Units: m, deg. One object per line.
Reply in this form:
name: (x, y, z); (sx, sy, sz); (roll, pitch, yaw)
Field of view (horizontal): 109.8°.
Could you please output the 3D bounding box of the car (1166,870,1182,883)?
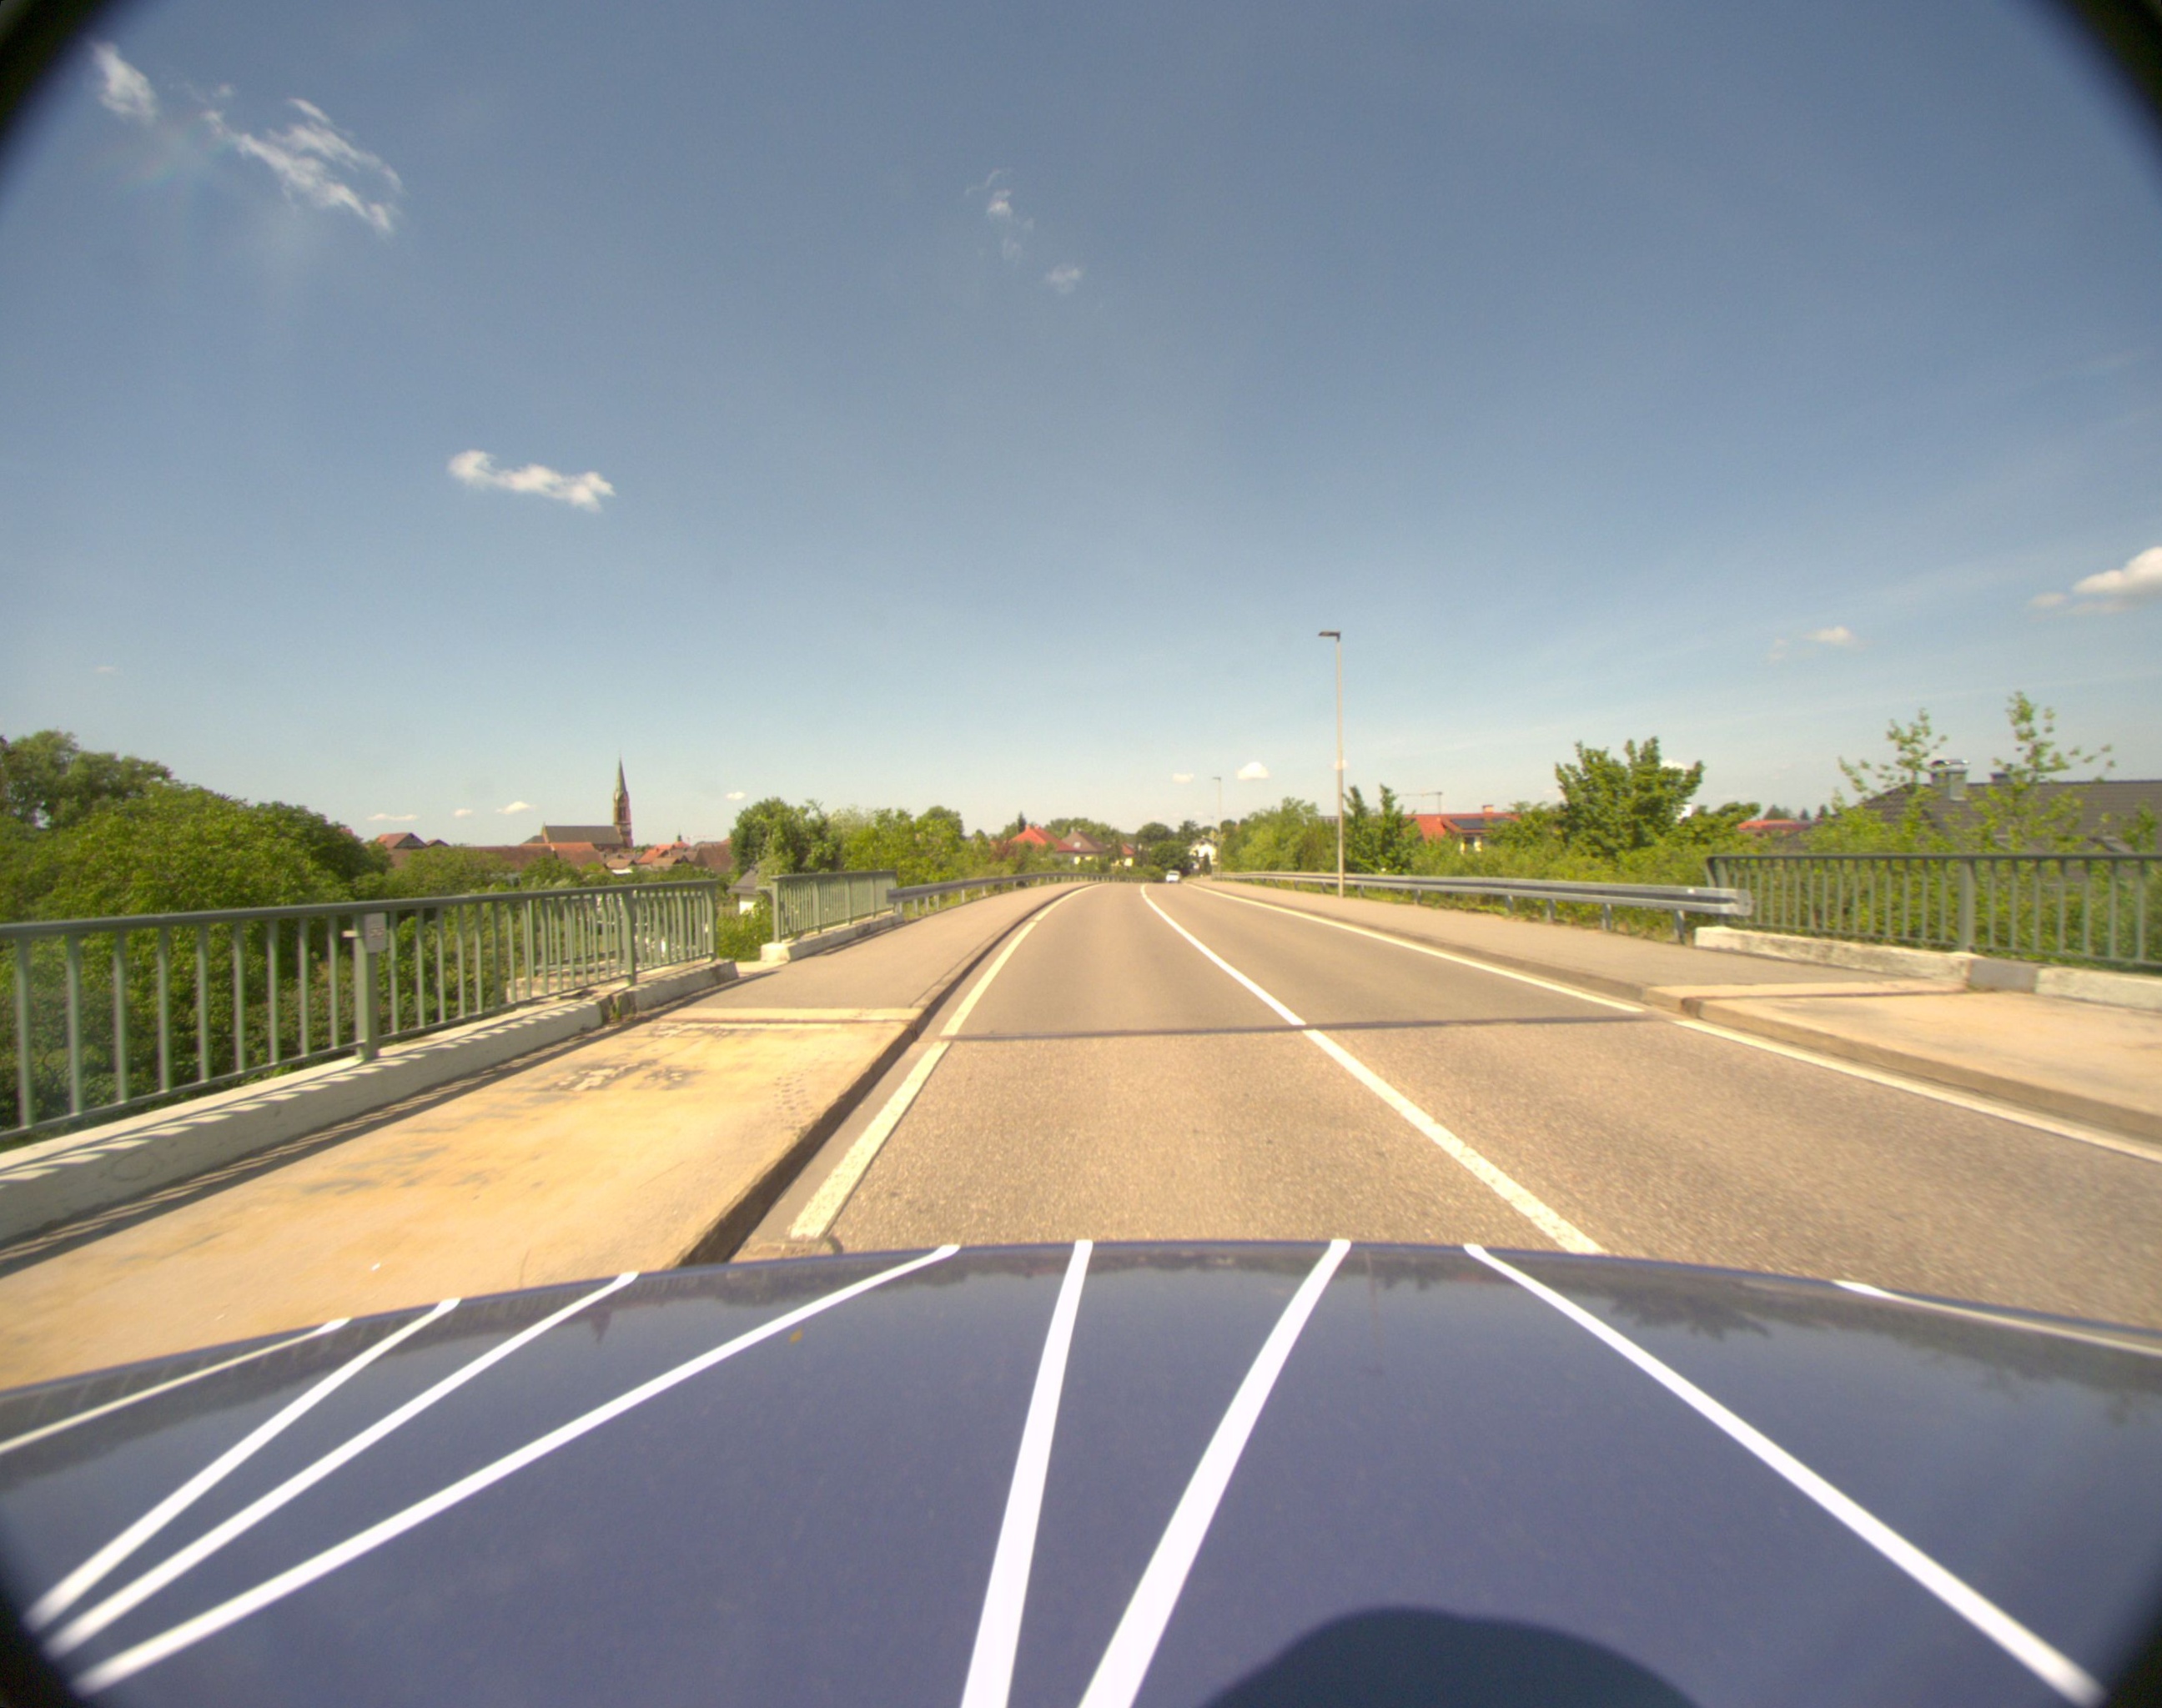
car: (14.179, 3.438, 116.116); (2.092, 1.751, 4.282); (-3, 2, 3)
